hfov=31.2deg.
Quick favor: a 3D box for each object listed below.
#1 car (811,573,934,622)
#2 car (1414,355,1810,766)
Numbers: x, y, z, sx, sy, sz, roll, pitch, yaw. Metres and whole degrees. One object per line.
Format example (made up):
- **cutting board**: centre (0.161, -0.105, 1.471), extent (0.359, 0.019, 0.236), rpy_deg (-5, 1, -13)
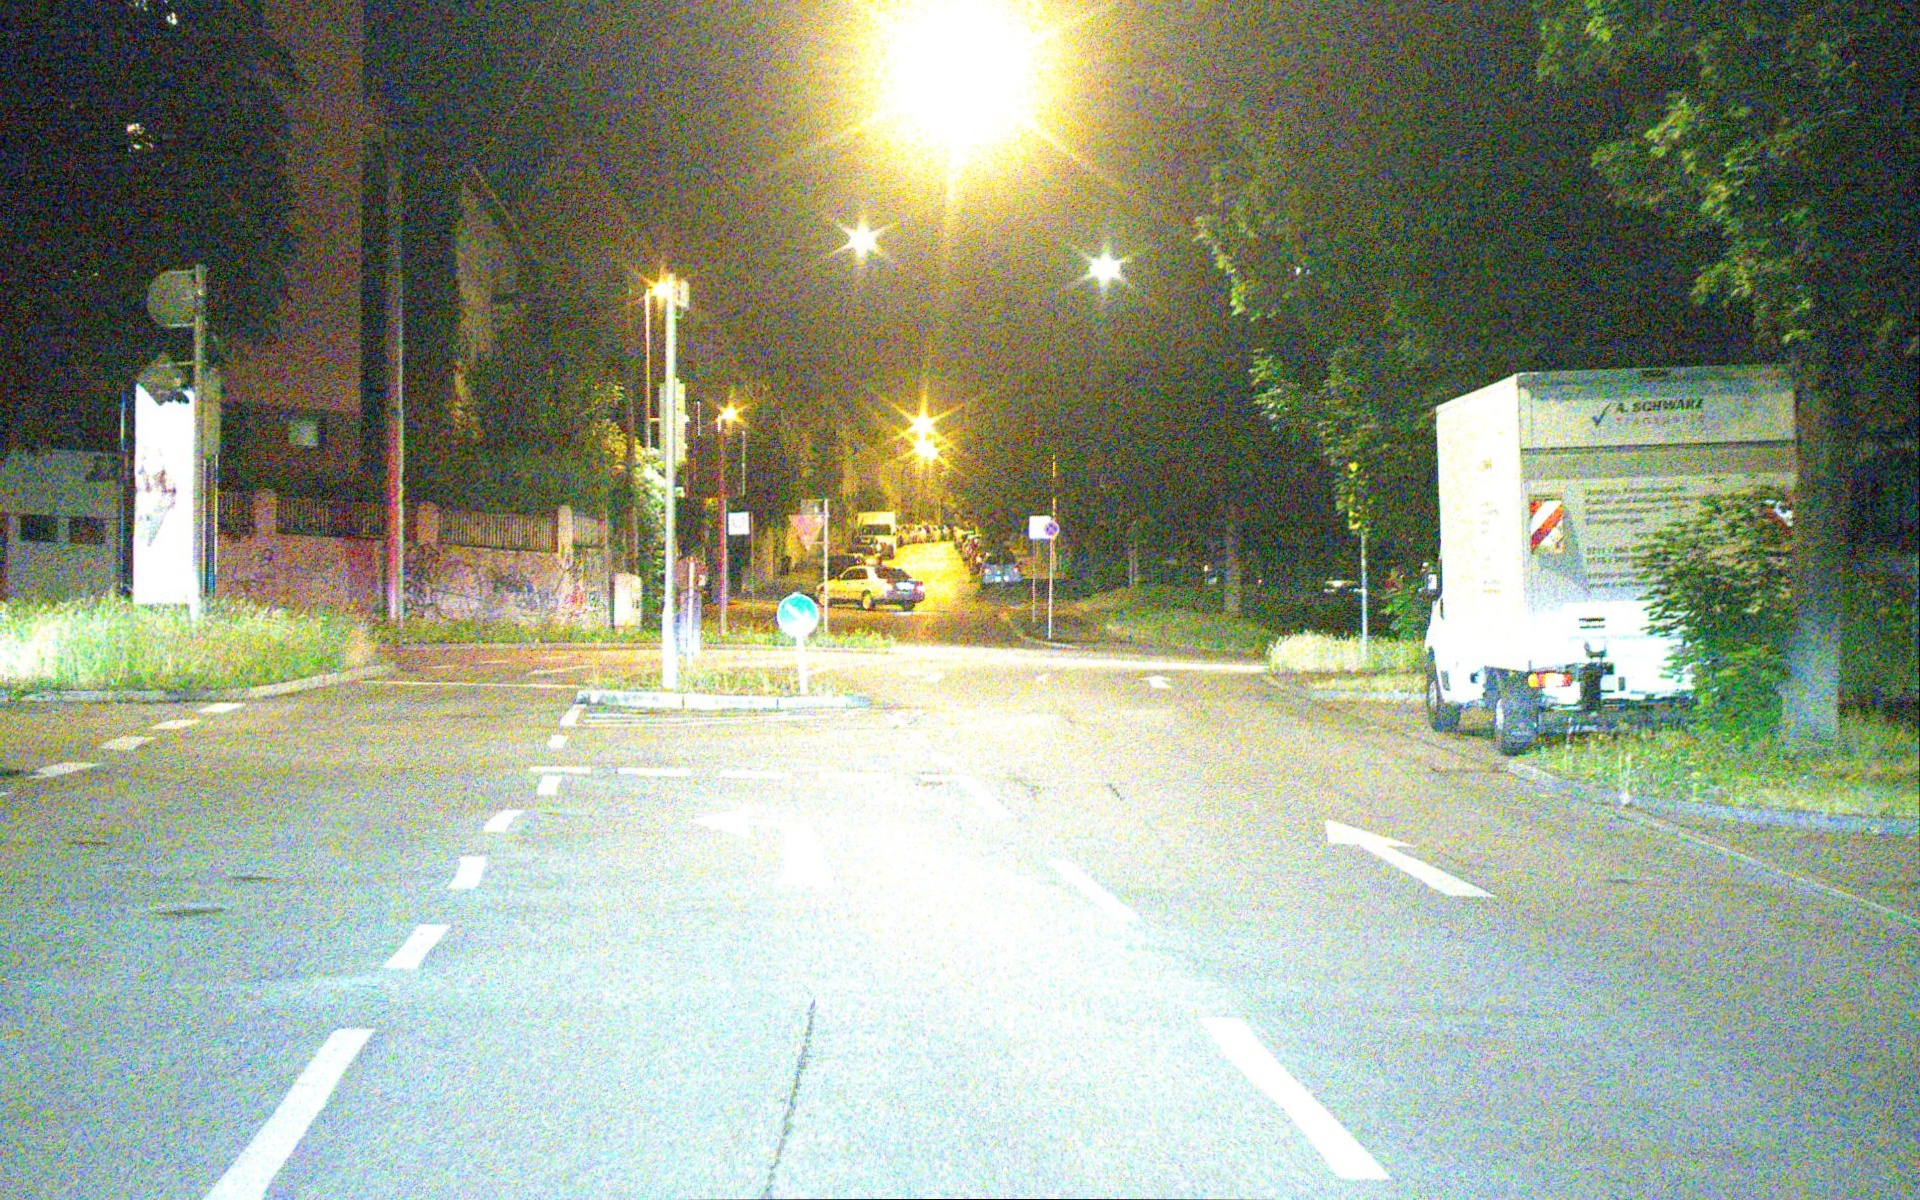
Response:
- **car**: centre (-2.836, -0.089, 110.268), extent (1.776, 1.481, 3.998), rpy_deg (1, 0, -41)
- **car**: centre (5.332, -0.318, 29.029), extent (2.297, 3.082, 5.840), rpy_deg (-1, 0, 1)
